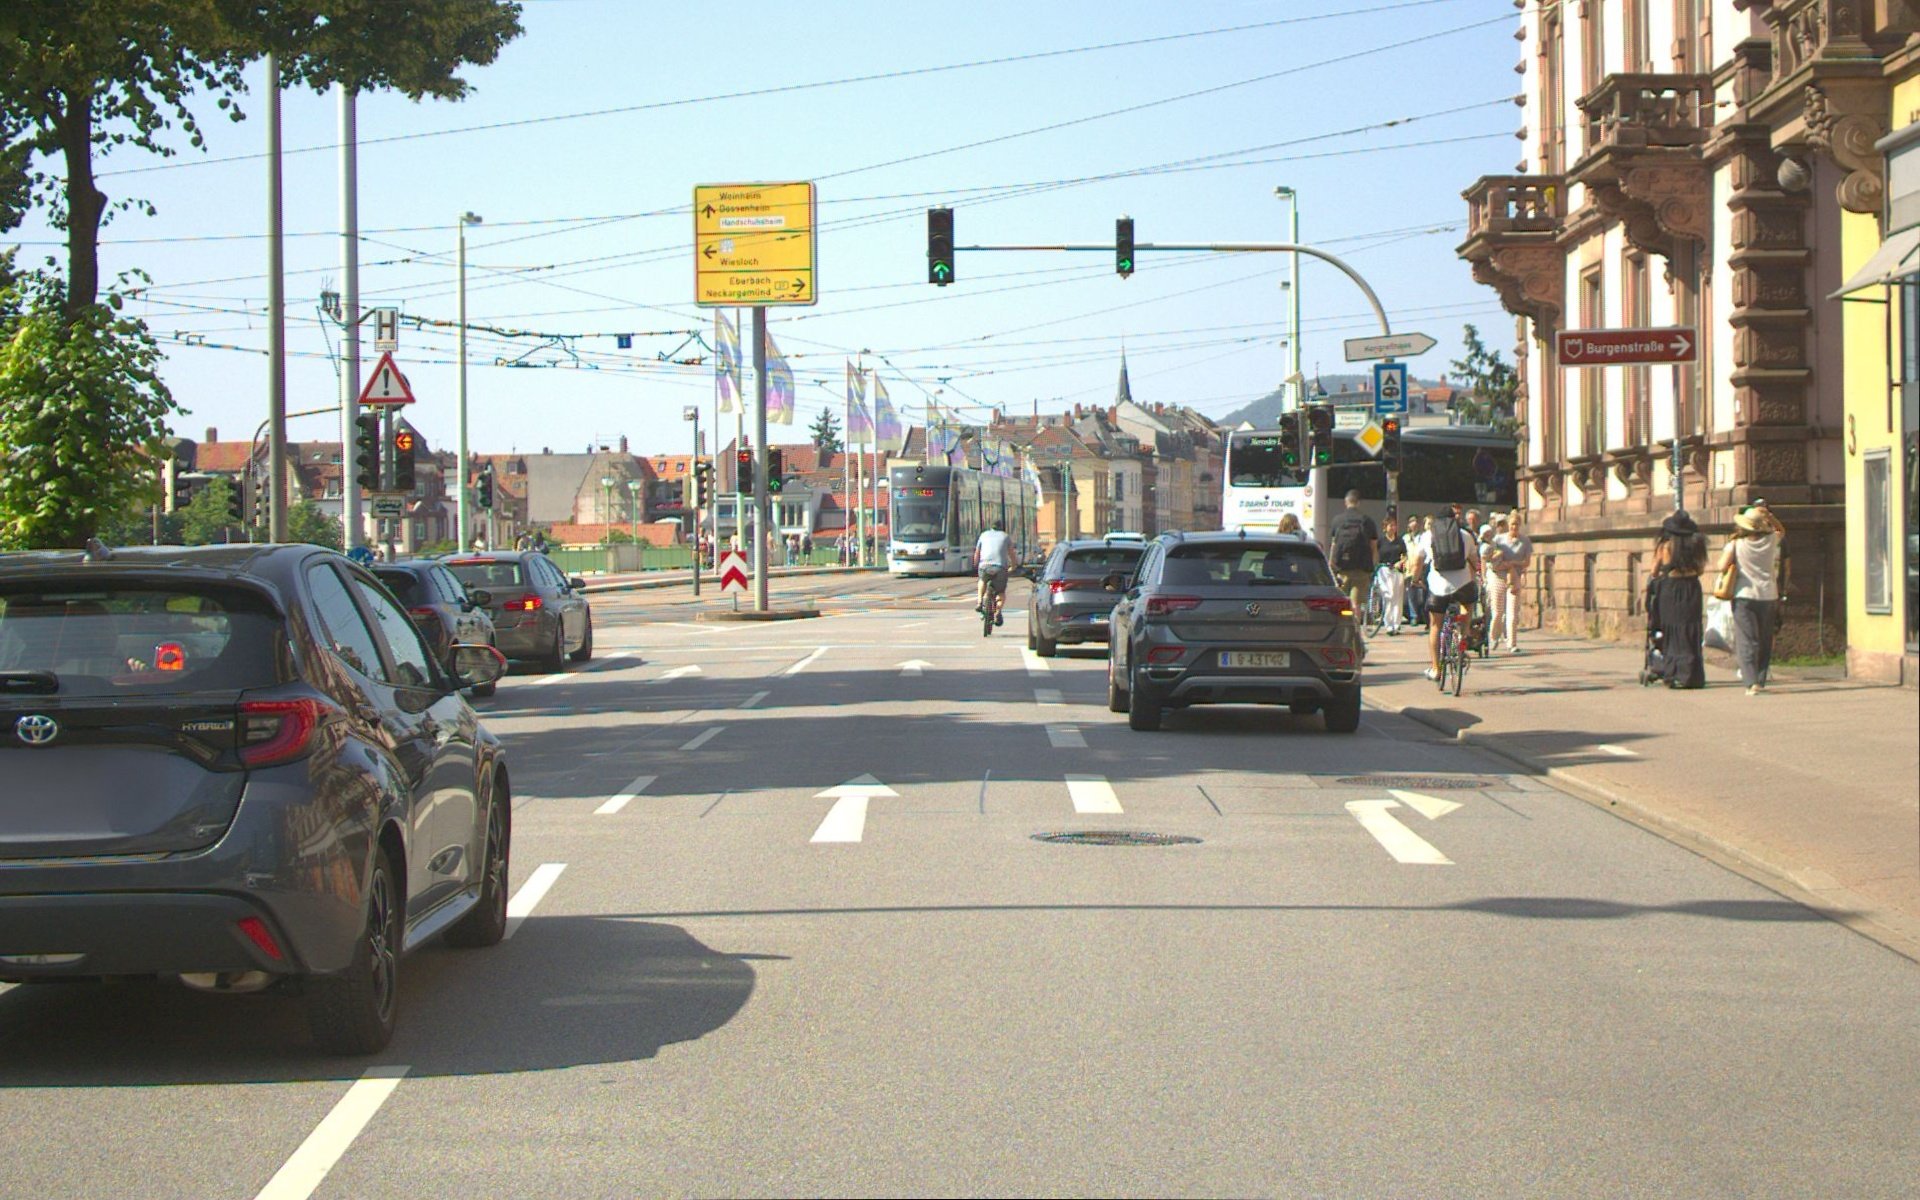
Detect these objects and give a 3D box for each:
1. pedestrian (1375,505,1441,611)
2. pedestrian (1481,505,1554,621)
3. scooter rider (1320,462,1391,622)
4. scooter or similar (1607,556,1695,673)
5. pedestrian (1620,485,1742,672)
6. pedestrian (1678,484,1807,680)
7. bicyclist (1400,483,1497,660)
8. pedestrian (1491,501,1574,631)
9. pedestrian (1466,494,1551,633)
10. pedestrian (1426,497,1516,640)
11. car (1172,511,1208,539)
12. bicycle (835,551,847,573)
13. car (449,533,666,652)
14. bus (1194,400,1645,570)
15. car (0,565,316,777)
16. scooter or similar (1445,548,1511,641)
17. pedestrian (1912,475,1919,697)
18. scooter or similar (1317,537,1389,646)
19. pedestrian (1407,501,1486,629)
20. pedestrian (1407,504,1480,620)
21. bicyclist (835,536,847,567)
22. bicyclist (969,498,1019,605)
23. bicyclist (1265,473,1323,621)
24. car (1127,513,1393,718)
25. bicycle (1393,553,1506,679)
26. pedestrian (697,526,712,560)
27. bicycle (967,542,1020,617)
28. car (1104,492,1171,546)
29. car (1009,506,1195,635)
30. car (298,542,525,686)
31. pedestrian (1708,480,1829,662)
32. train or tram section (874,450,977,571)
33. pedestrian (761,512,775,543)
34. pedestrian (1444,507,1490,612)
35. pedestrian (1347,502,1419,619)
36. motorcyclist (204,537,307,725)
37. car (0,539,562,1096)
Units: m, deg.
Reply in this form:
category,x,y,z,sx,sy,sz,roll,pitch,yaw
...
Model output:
category,x,y,z,sx,sy,sz,roll,pitch,yaw
pedestrian,7.040,-0.665,54.040,0.862,1.634,0.876,1,0,-1
pedestrian,8.071,-0.536,49.785,0.862,1.634,0.876,1,0,-1
scooter rider,4.359,-0.637,37.935,0.688,1.723,0.778,2,0,4
scooter or similar,6.323,0.130,31.489,0.600,1.044,0.799,1,0,-1
pedestrian,6.469,-0.192,30.875,0.862,1.634,0.876,1,0,-1
pedestrian,6.701,-0.164,29.468,0.862,1.634,0.876,-1,2,-1
bicyclist,4.438,-0.261,31.273,0.688,1.571,1.049,2,0,0
pedestrian,7.387,-0.441,44.392,0.862,1.634,0.876,1,0,-1
pedestrian,6.599,-0.447,41.378,0.862,1.634,0.876,-1,1,-1
pedestrian,5.971,-0.371,40.205,0.862,1.634,0.876,1,0,-1
car,13.310,-4.320,199.183,1.859,1.502,4.000,2,1,2
bicycle,-6.063,-1.933,174.729,0.558,1.121,1.223,1,0,-1
car,-4.836,-0.106,41.847,2.037,1.328,4.000,2,1,2
bus,8.563,-2.044,63.375,8.615,2.767,2.978,1,1,-38
car,-5.905,0.443,24.315,1.815,1.328,4.000,2,1,2
scooter or similar,5.948,-0.068,39.488,0.600,1.044,0.799,1,0,-1
pedestrian,7.321,-0.099,24.794,0.654,1.615,0.815,-1,1,-1
scooter or similar,4.328,-0.101,37.902,0.688,1.163,1.463,2,0,4
pedestrian,6.368,-0.460,45.024,0.862,1.634,0.876,1,0,-1
pedestrian,6.939,-0.541,49.388,0.862,1.634,0.876,1,0,-1
bicyclist,-6.045,-2.460,174.701,0.558,1.531,0.743,1,0,-1
bicyclist,0.507,-0.725,51.794,0.688,1.571,1.049,1,0,-1
bicyclist,4.476,-0.712,46.097,0.688,1.955,0.778,2,0,4
car,2.342,0.098,27.752,1.874,1.487,4.000,2,1,2
bicycle,4.430,0.132,31.219,0.734,1.089,1.898,2,0,0
pedestrian,-10.503,-2.343,141.446,0.558,1.411,0.636,1,0,-1
bicycle,0.497,-0.311,51.888,0.734,1.089,1.898,1,0,-1
car,5.295,-2.407,103.029,1.859,1.502,4.000,2,1,2
car,1.725,-0.372,43.183,1.993,1.487,4.000,1,1,-2
car,-5.313,0.111,33.711,1.451,1.296,4.000,2,1,2
pedestrian,7.484,-0.269,31.862,0.862,1.634,0.876,1,0,-1
train or tram section,-1.078,-2.934,113.202,2.822,3.764,8.226,2,1,3
pedestrian,-8.823,-3.339,158.114,0.558,1.411,0.636,1,0,-1
pedestrian,7.989,-0.633,54.199,0.576,1.634,0.611,1,0,-1
pedestrian,6.021,-0.562,49.012,0.862,1.634,0.876,1,0,-1
motorcyclist,-5.962,0.258,29.119,0.689,1.550,0.718,-2,0,-2
car,-2.448,0.576,11.226,1.777,1.470,4.000,-1,0,0
